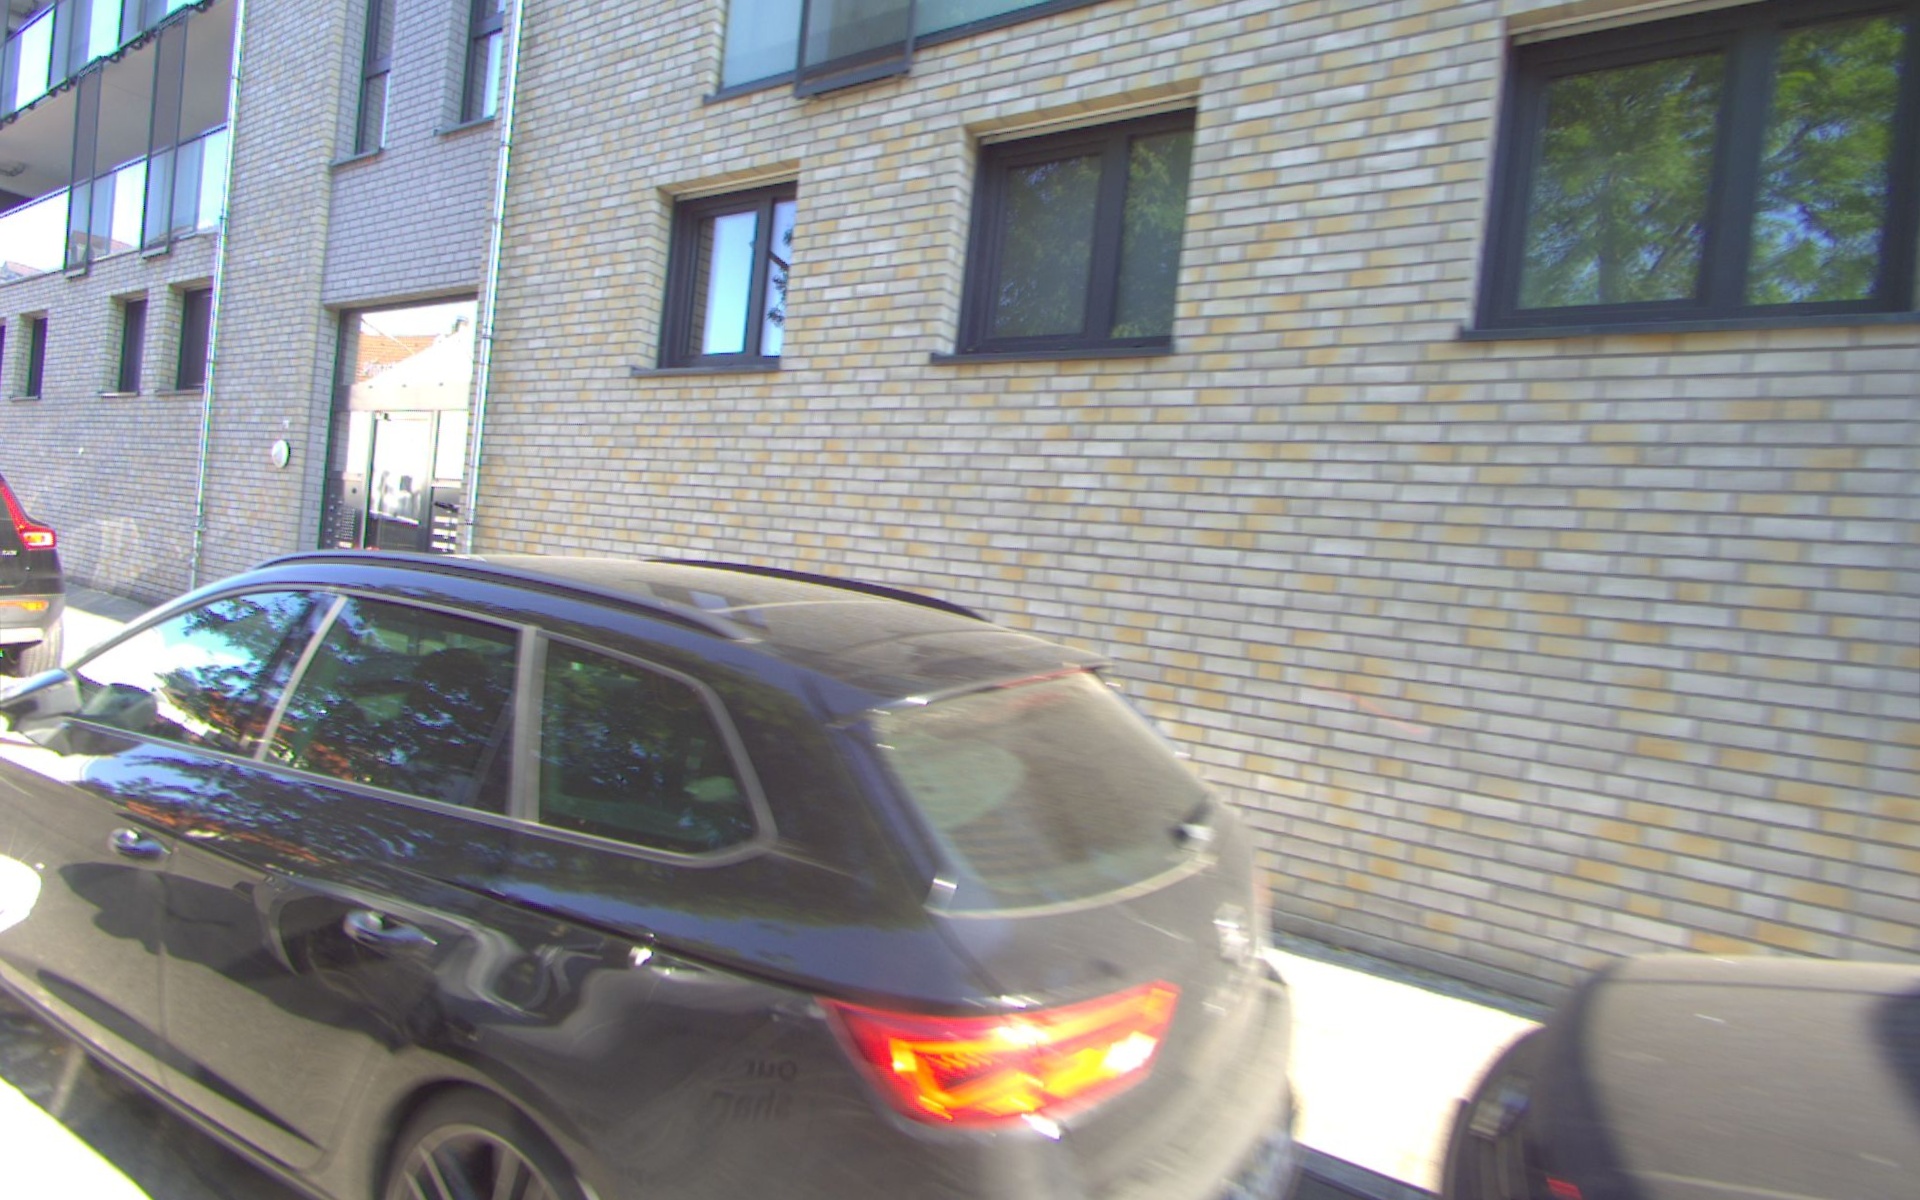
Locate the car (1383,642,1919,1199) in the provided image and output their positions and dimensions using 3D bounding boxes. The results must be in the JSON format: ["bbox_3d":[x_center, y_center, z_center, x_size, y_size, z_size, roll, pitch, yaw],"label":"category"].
[{"bbox_3d":[2.606,1.062,0.730,4.147,1.537,1.664,7,3,30],"label":"car"}]

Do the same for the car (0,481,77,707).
[{"bbox_3d":[-8.339,-0.275,7.224,4.199,1.485,1.817,7,1,32],"label":"car"}]

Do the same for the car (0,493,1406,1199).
[{"bbox_3d":[-1.408,0.595,2.866,4.639,1.487,1.697,7,2,30],"label":"car"}]
